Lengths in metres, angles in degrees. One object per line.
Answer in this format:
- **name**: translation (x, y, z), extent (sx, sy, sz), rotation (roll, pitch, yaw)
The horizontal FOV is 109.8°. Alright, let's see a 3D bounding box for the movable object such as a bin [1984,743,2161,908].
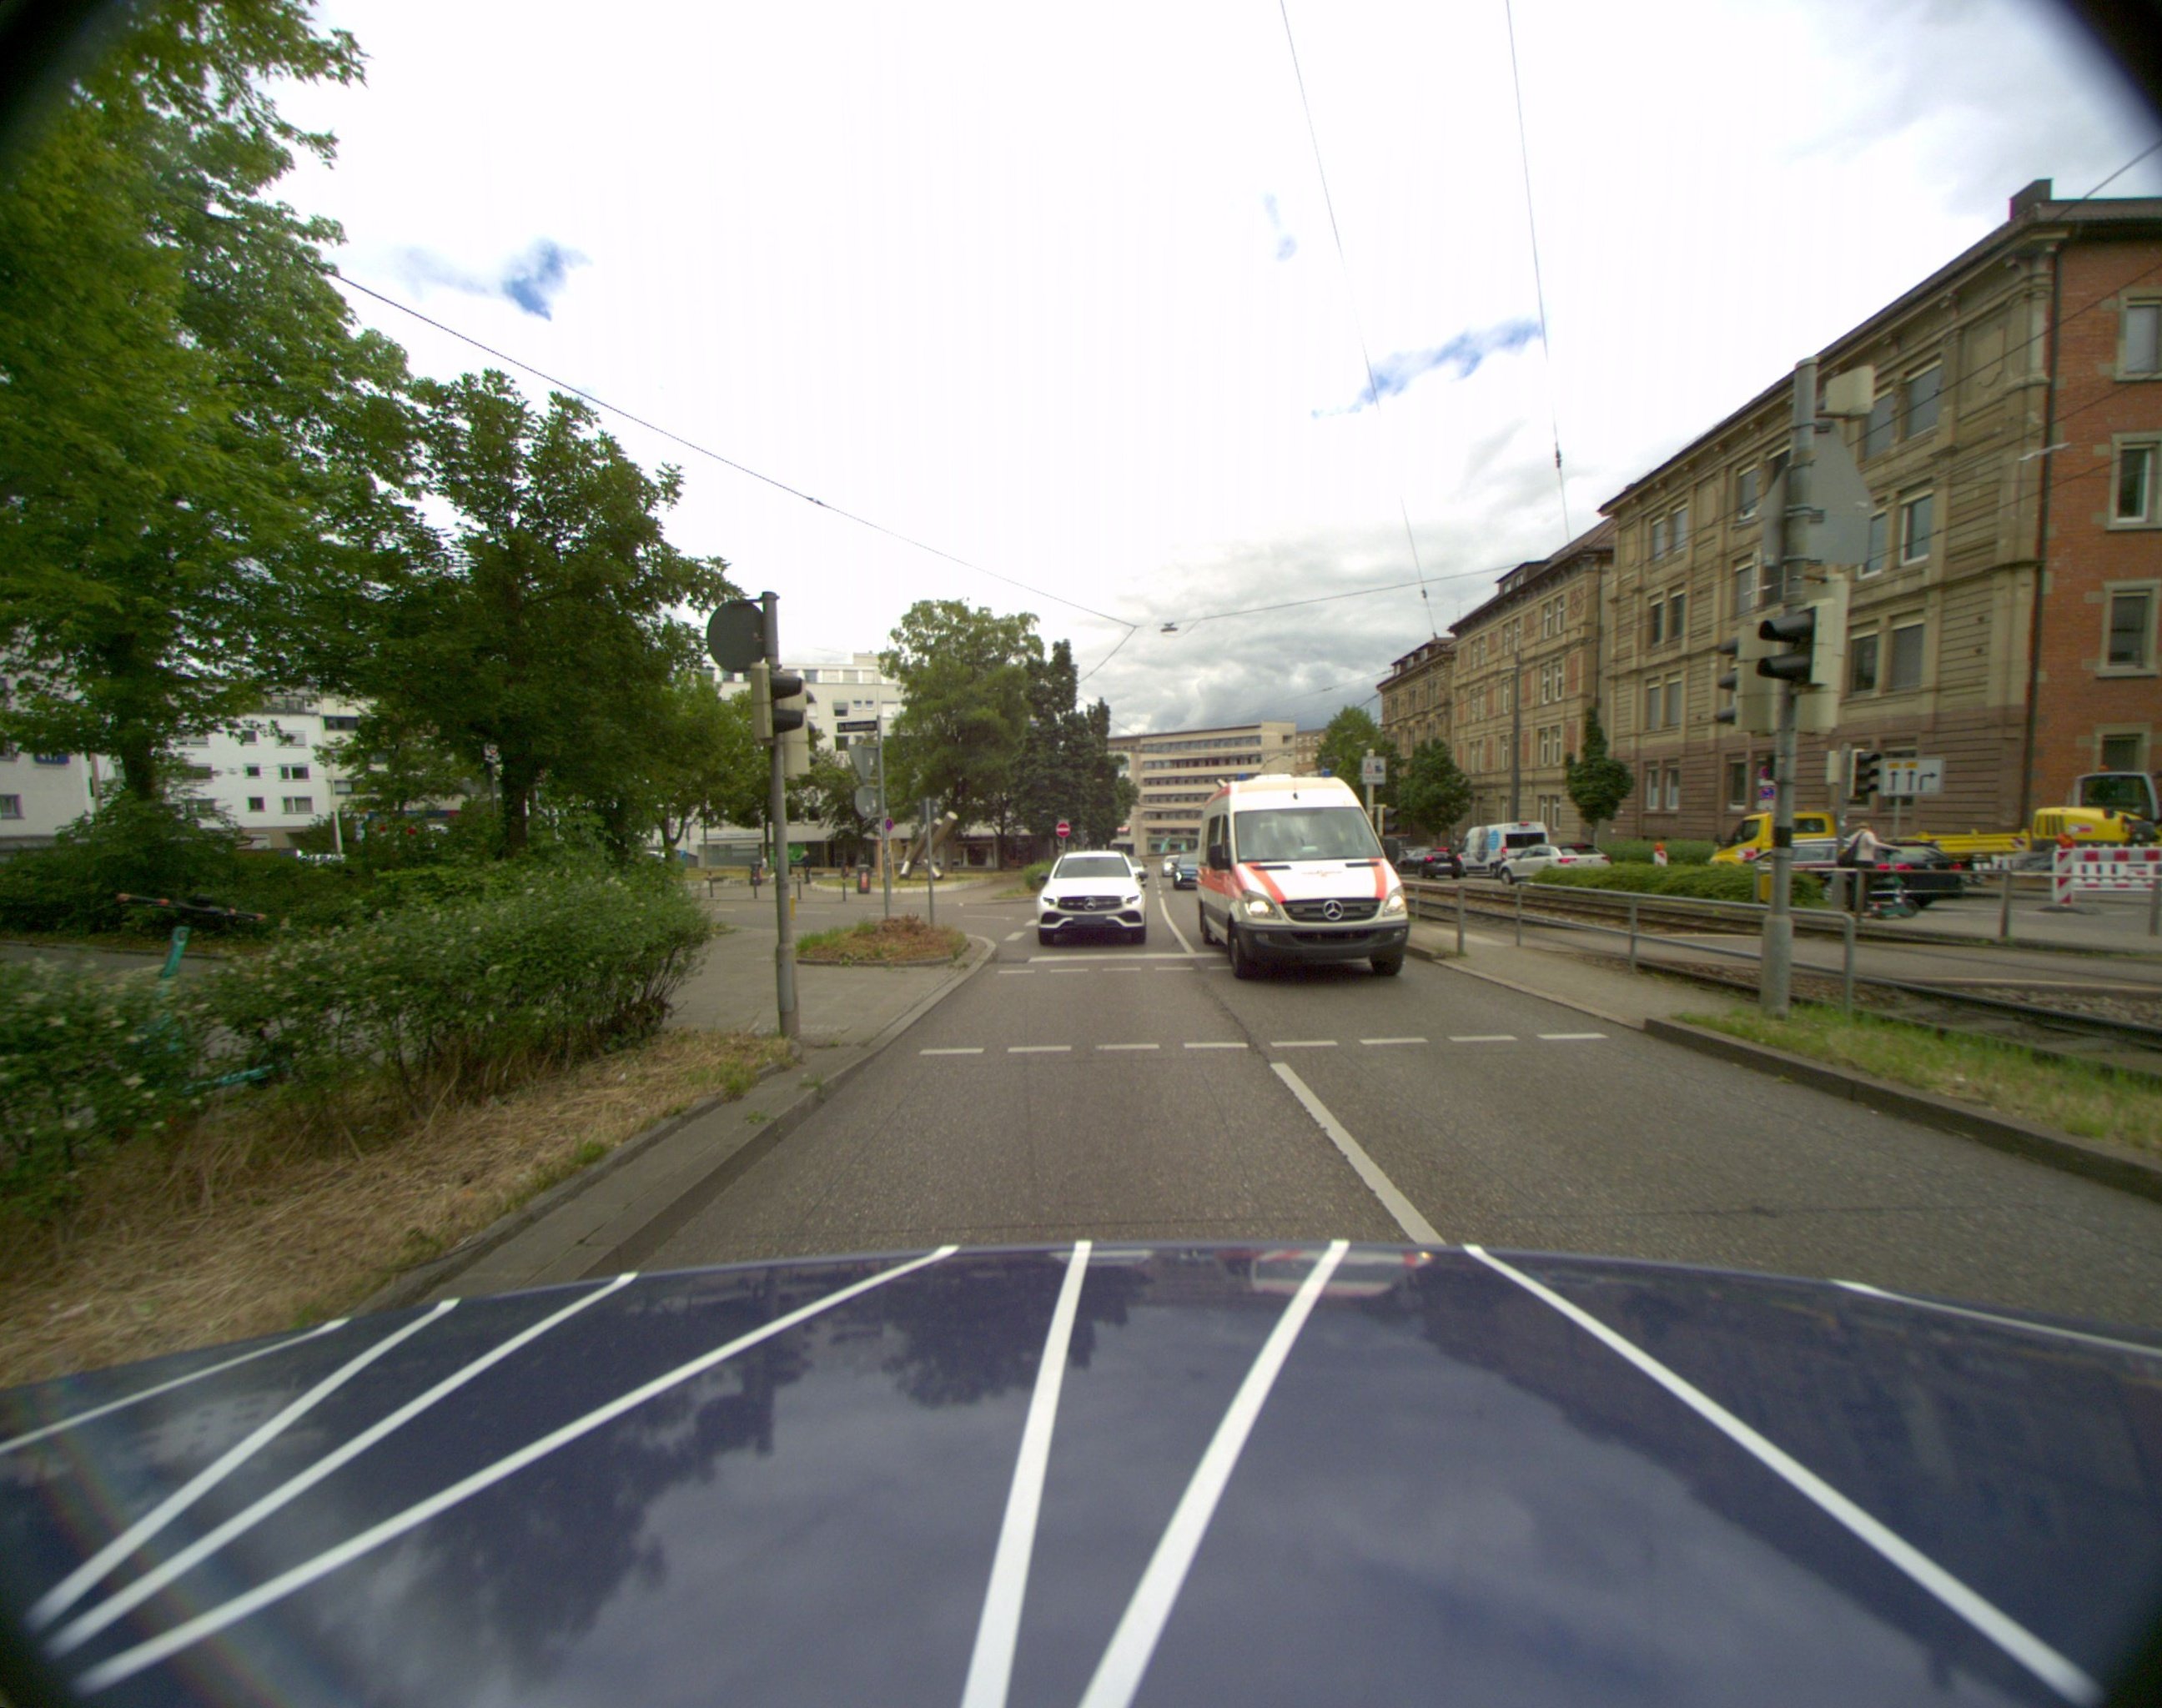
- **movable object such as a bin**: translation (24.471, -0.623, 16.053), extent (2.755, 3.527, 6.545), rotation (-1, 0, -6)

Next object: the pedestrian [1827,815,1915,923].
- **pedestrian**: translation (13.783, 0.254, 13.270), extent (0.742, 1.807, 0.792), rotation (0, 0, -18)

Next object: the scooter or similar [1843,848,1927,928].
- **scooter or similar**: translation (13.678, 0.555, 12.920), extent (1.500, 1.288, 0.532), rotation (-1, 1, -25)

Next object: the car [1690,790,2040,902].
- **car**: translation (20.116, -0.202, 20.256), extent (2.446, 2.422, 6.754), rotation (-2, 1, 1)

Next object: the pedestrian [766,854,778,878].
- **pedestrian**: translation (-20.297, 0.769, 49.903), extent (0.529, 1.524, 0.672), rotation (-1, 1, -35)

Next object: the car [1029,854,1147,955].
- **car**: translation (0.271, 0.828, 14.722), extent (1.893, 1.610, 4.479), rotation (-1, 0, 4)

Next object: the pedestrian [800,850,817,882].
- **pedestrian**: translation (-13.547, 0.590, 37.767), extent (0.727, 1.593, 0.791), rotation (-1, 1, -18)

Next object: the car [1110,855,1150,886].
- **car**: translation (2.494, 0.777, 37.998), extent (1.821, 1.441, 3.855), rotation (-1, 0, 6)

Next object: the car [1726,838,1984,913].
- **car**: translation (16.702, 0.413, 16.736), extent (1.782, 1.453, 4.001), rotation (-1, 0, 4)

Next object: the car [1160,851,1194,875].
- **car**: translation (6.667, 0.606, 53.174), extent (1.998, 1.543, 4.318), rotation (-1, 0, 3)

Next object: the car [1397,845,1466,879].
- **car**: translation (16.699, 0.337, 36.403), extent (1.870, 1.510, 3.951), rotation (-1, 0, 6)

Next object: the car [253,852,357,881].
- **car**: translation (-54.781, 0.861, 53.737), extent (4.783, 1.934, 2.227), rotation (-1, 0, -7)

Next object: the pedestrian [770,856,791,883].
- **pedestrian**: translation (-14.639, 0.754, 37.037), extent (0.655, 1.284, 0.686), rotation (-1, 1, 14)

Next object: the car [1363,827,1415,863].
- **car**: translation (20.552, -0.579, 50.865), extent (2.240, 2.274, 4.002), rotation (-1, 0, 7)

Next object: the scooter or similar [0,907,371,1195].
- **scooter or similar**: translation (-4.960, 0.962, 4.278), extent (0.632, 1.203, 1.556), rotation (-1, 1, -10)

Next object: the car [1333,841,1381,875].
- **car**: translation (17.394, 0.214, 48.132), extent (1.997, 2.032, 4.002), rotation (-1, 0, 7)

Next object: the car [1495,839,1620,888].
- **car**: translation (16.337, 0.303, 26.304), extent (1.707, 1.558, 3.999), rotation (-1, 0, -2)

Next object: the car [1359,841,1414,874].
- **car**: translation (16.860, 0.177, 42.142), extent (1.840, 1.739, 4.002), rotation (-1, 0, 7)

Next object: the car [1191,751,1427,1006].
- **car**: translation (2.861, 0.268, 11.068), extent (2.038, 2.684, 5.856), rotation (-1, 0, 4)

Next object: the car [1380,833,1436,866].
- **car**: translation (20.228, -0.291, 47.210), extent (2.319, 1.928, 3.438), rotation (-1, 0, 7)

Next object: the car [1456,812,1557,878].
- **car**: translation (19.487, -0.401, 35.073), extent (2.214, 2.806, 4.785), rotation (-1, 0, 4)

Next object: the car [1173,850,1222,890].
- **car**: translation (5.071, 0.637, 33.515), extent (1.930, 1.563, 4.182), rotation (-3, 0, 7)
